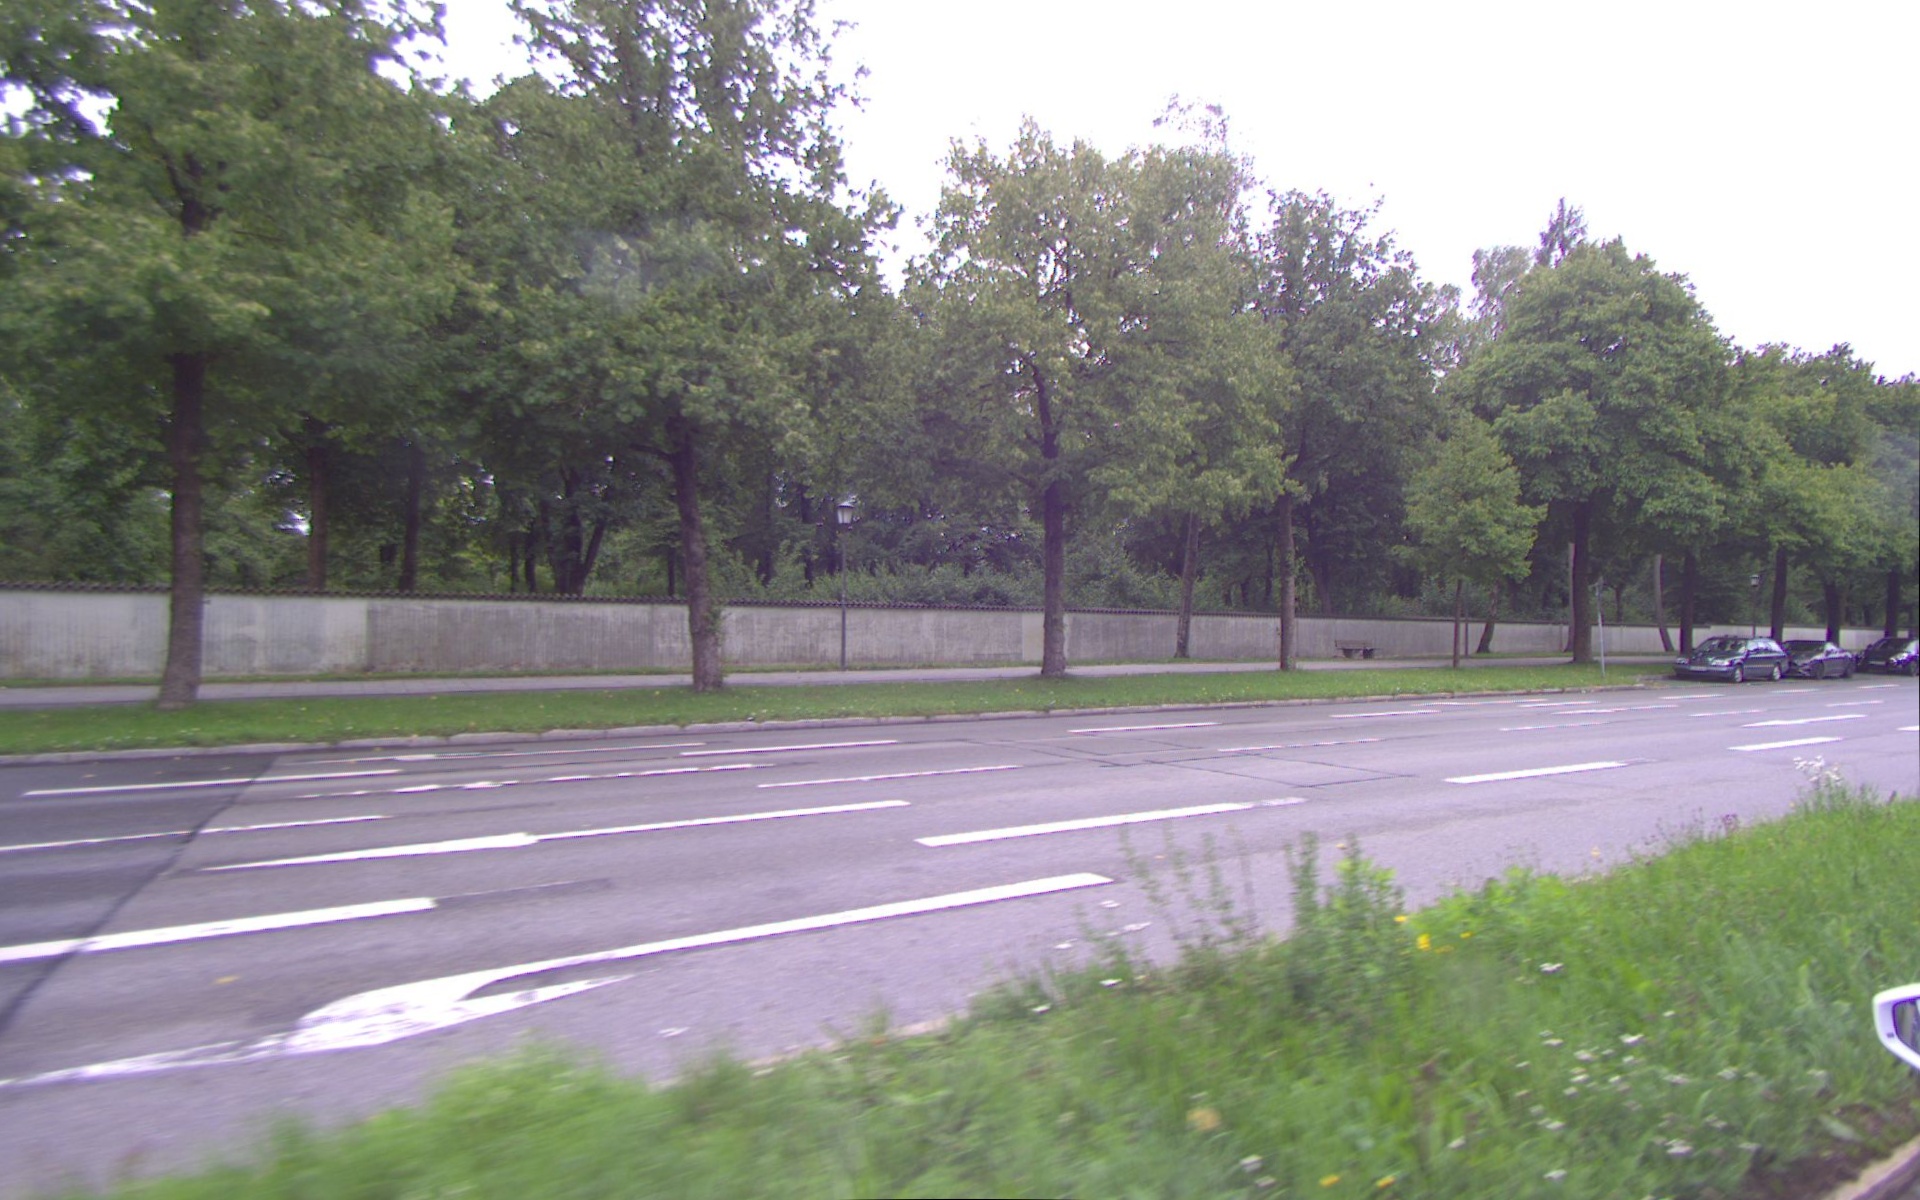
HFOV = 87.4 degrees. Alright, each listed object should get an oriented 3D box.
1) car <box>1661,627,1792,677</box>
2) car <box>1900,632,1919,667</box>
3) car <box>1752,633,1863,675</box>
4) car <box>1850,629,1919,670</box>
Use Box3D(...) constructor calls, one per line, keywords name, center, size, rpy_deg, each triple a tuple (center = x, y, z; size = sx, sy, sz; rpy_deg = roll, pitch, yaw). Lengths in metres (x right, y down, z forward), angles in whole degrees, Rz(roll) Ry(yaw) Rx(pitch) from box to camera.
Box3D(name="car", center=(25.751, 1.707, 33.691), size=(4.858, 1.510, 1.790), rpy_deg=(1, 0, -31))
Box3D(name="car", center=(42.803, 2.158, 43.728), size=(4.745, 1.478, 1.578), rpy_deg=(1, 0, -32))
Box3D(name="car", center=(30.987, 1.929, 36.678), size=(4.652, 1.414, 1.651), rpy_deg=(1, 0, -31))
Box3D(name="car", center=(38.248, 1.993, 40.887), size=(4.247, 1.523, 1.565), rpy_deg=(1, 0, -27))
